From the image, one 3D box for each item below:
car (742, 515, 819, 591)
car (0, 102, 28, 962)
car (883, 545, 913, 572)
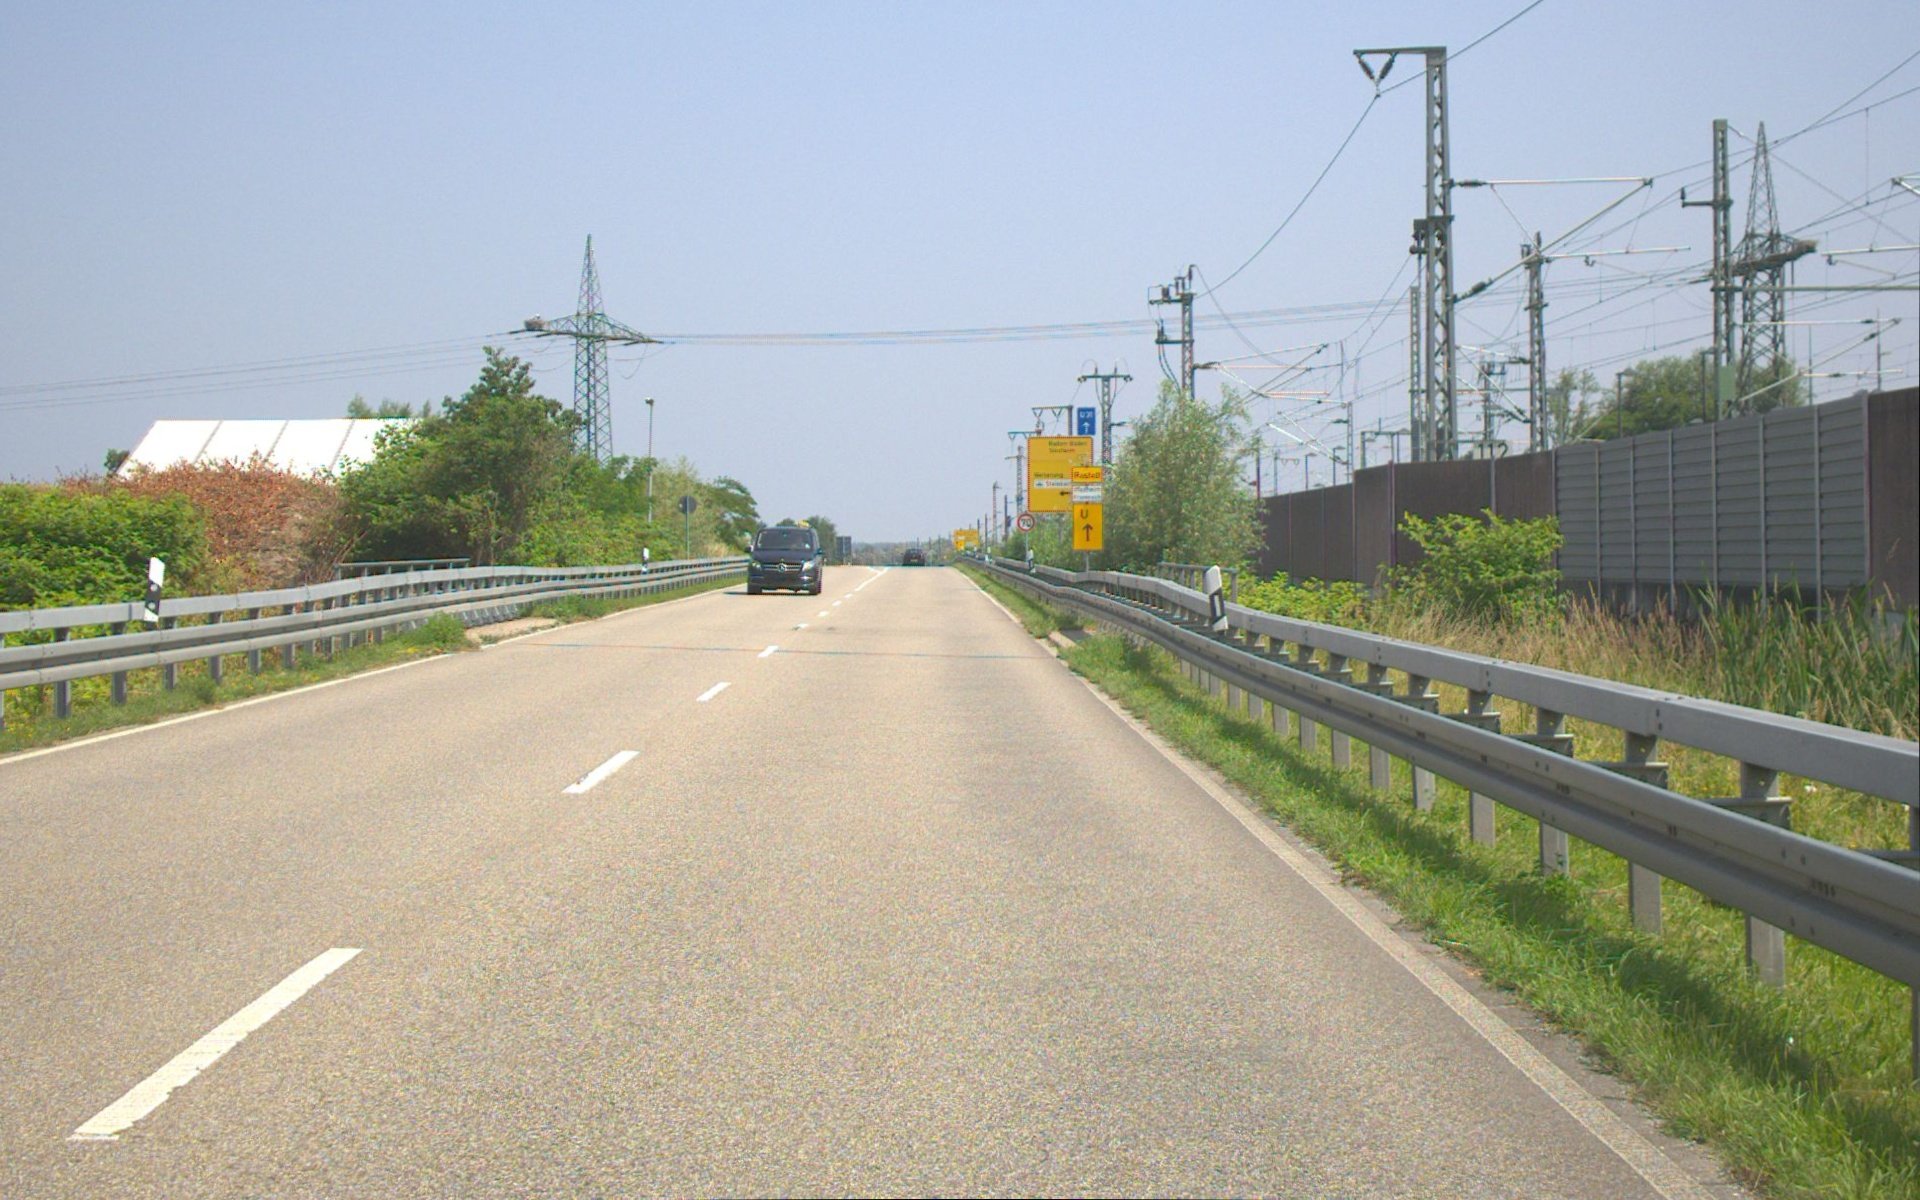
[{"bbox_3d":[-4.932,-1.311,94.909,1.893,2.007,5.370,1,1,-1],"label":"car"},{"bbox_3d":[-4.286,-0.187,8.672,2.079,2.952,6.730,1,1,-1],"label":"car"},{"bbox_3d":[-4.705,-3.137,260.005,1.993,2.007,4.001,1,1,-4],"label":"car"}]
